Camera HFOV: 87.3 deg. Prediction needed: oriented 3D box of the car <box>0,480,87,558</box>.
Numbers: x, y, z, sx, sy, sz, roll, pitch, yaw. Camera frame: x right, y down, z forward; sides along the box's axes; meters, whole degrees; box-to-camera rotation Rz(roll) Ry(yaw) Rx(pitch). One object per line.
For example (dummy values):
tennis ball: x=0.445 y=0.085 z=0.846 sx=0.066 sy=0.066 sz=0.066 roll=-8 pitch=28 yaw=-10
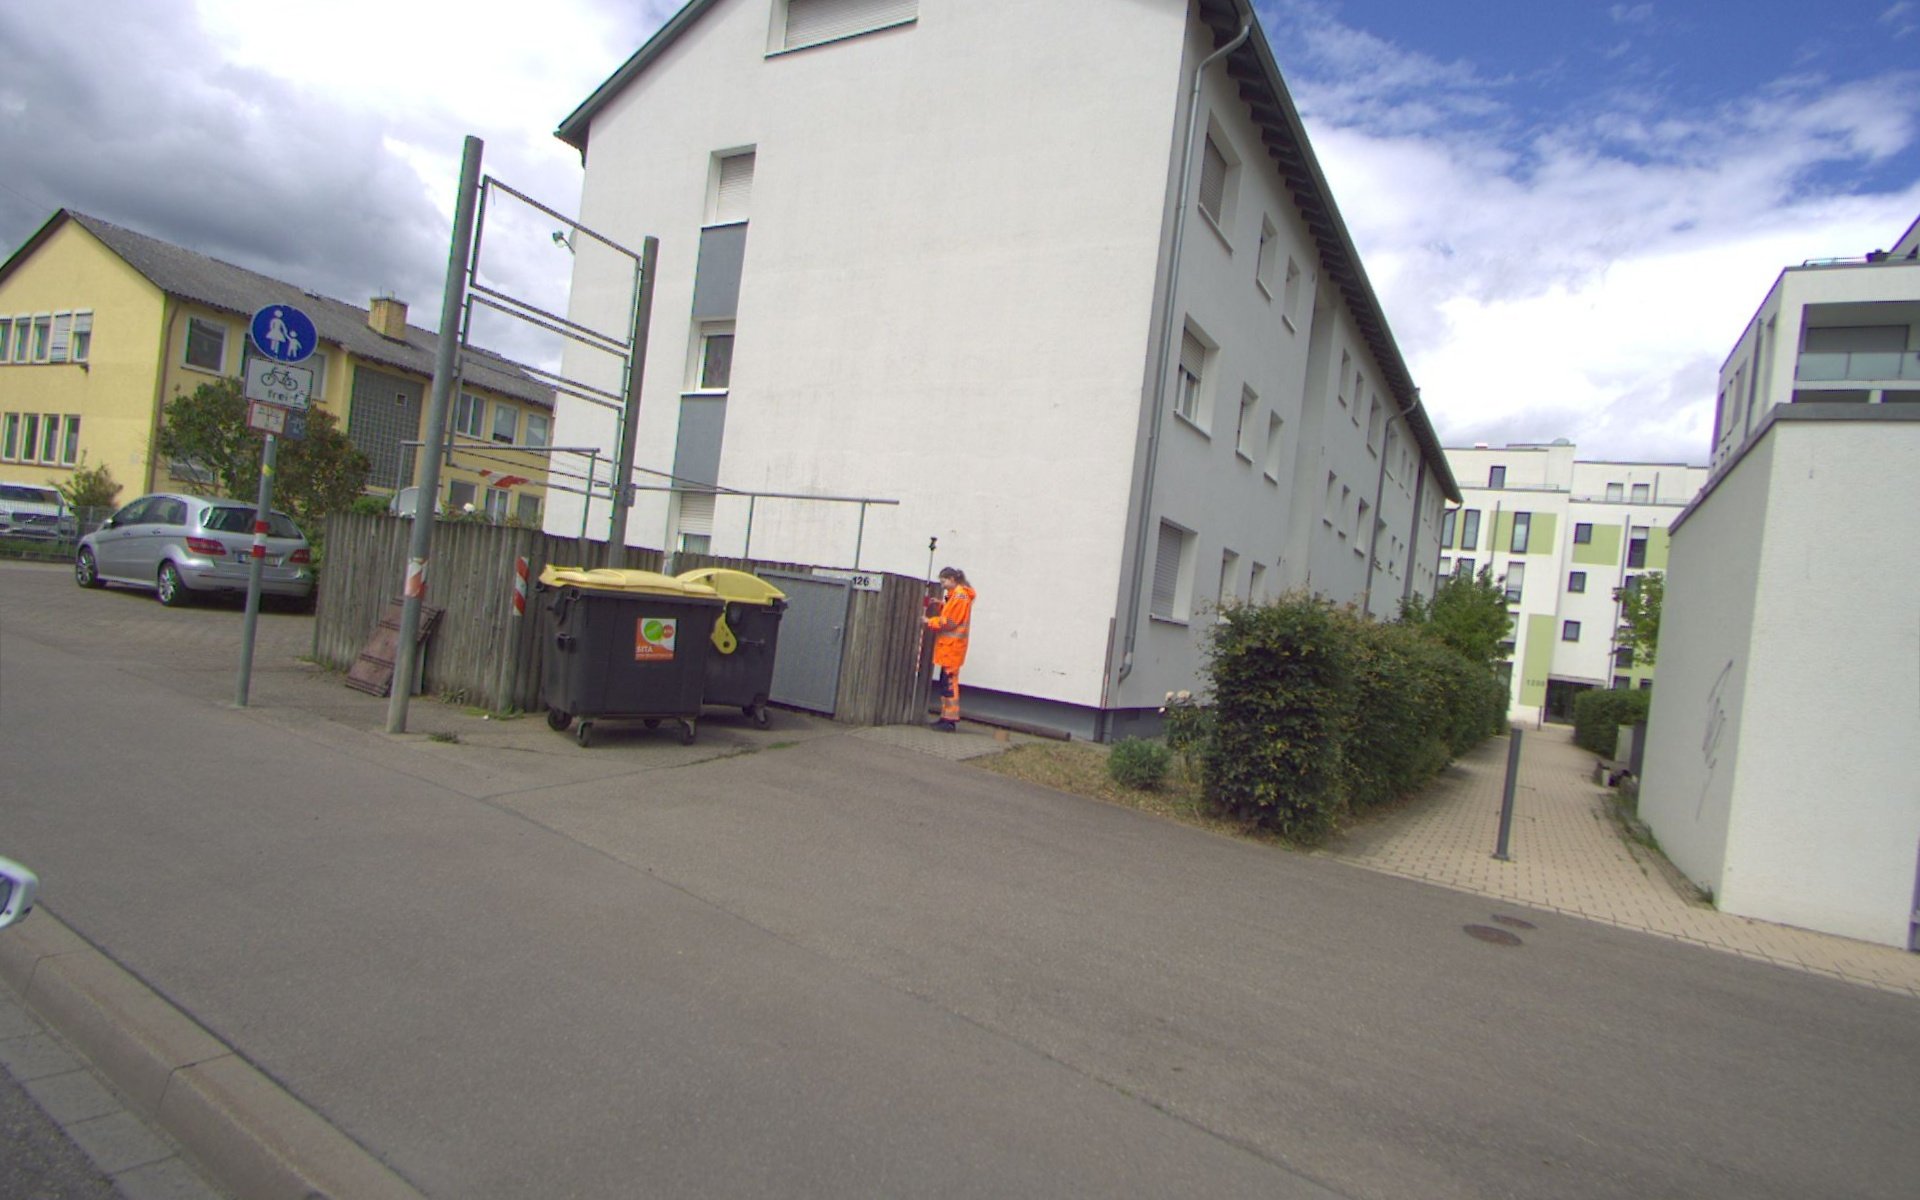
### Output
car: x=-26.568 y=-2.304 z=28.527 sx=4.961 sy=1.843 sz=1.973 roll=5 pitch=-1 yaw=41

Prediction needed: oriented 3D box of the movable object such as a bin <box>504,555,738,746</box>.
movable object such as a bin: x=-2.760 y=0.409 z=8.189 sx=1.315 sy=1.377 sz=1.237 roll=7 pitch=-2 yaw=-43

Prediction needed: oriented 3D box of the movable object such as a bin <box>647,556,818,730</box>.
movable object such as a bin: x=-2.210 y=0.408 z=9.656 sx=1.305 sy=1.452 sz=1.245 roll=6 pitch=-1 yaw=-22

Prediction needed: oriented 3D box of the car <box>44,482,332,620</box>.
car: x=-11.885 y=-0.773 z=15.431 sx=4.445 sy=1.564 sz=1.878 roll=7 pitch=0 yaw=30

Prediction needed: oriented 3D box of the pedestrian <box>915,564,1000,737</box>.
pedestrian: x=-0.030 y=0.540 z=10.811 sx=0.505 sy=1.785 sz=0.495 roll=9 pitch=-3 yaw=-42
